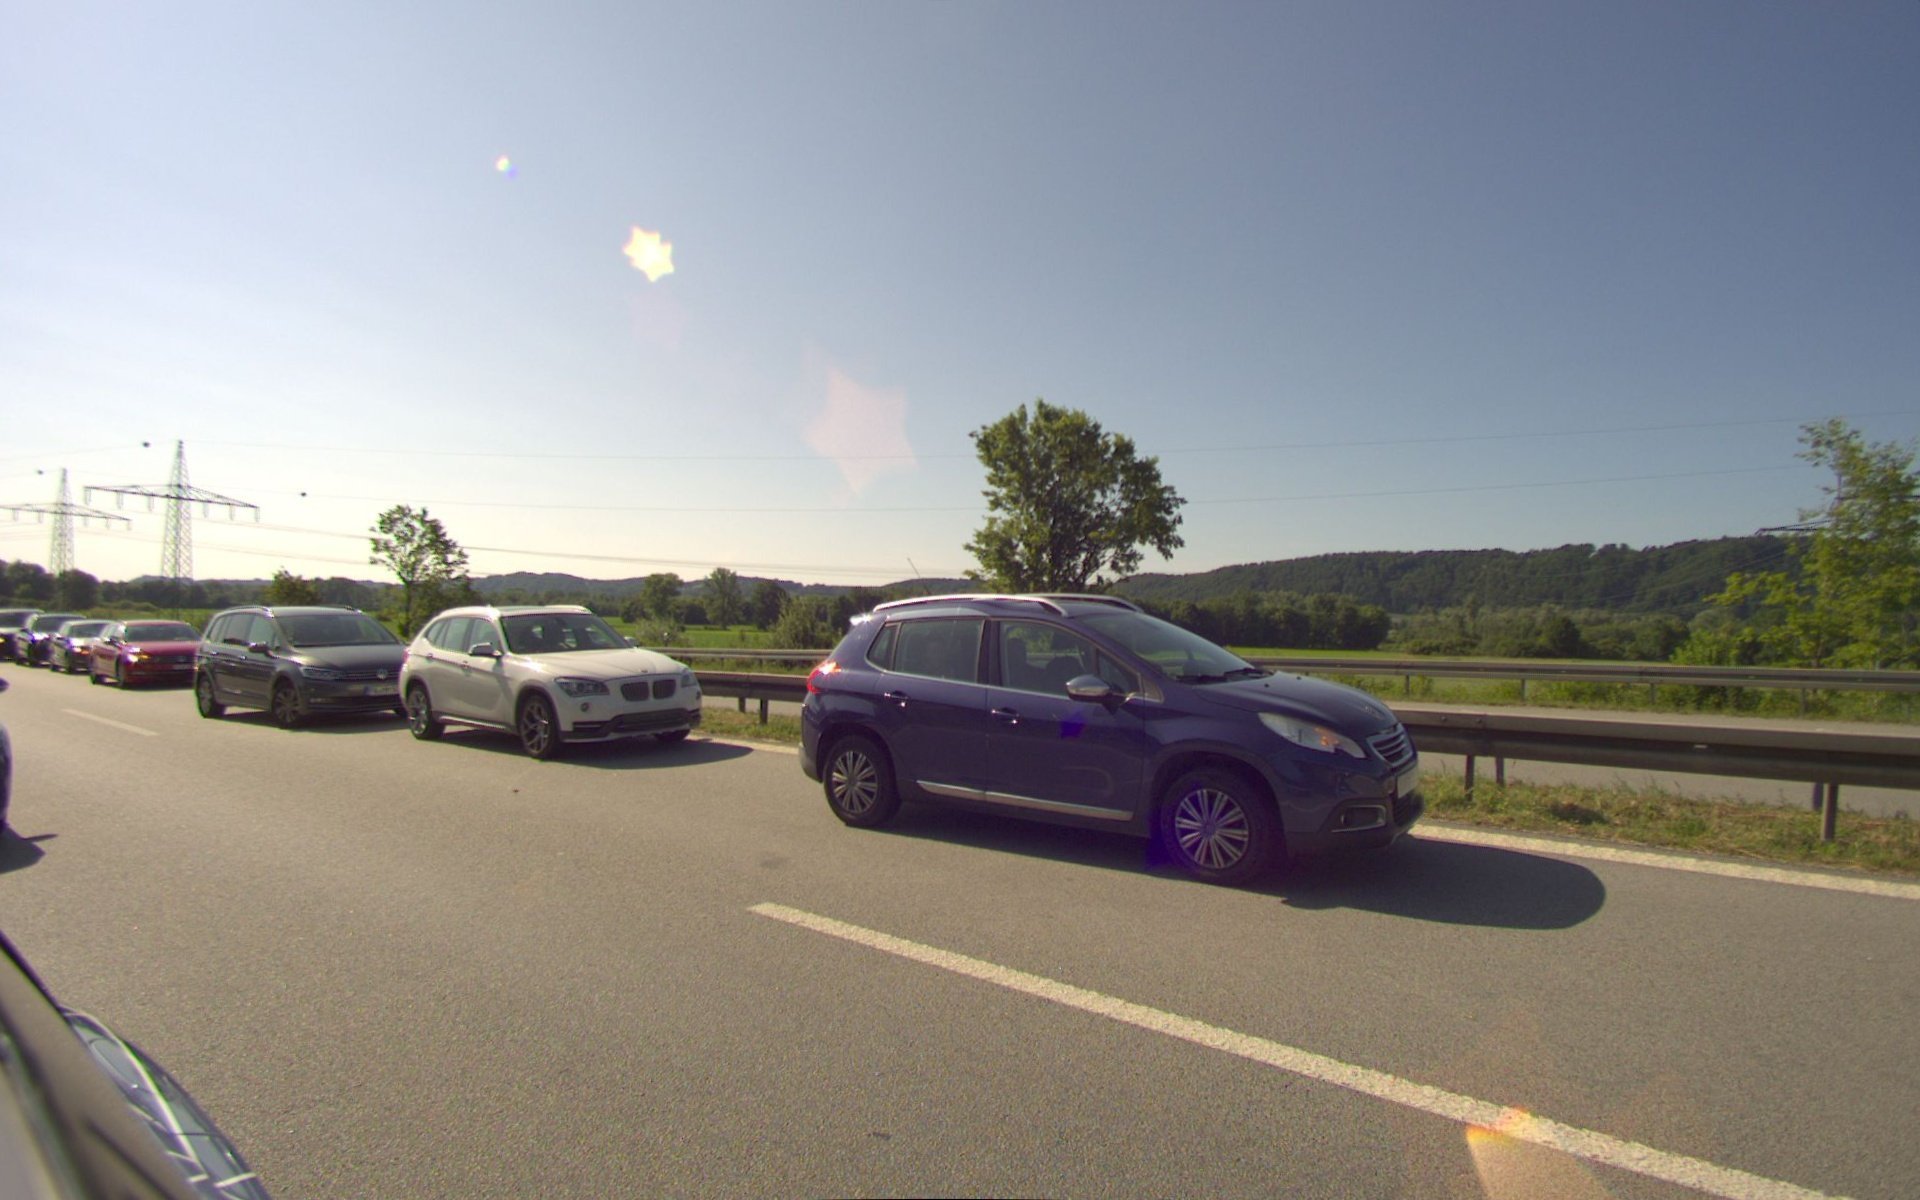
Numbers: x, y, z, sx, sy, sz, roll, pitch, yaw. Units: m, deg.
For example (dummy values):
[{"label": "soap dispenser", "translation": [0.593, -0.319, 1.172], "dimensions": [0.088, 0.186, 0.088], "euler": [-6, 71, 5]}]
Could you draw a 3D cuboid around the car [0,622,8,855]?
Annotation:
[{"label": "car", "translation": [-8.039, 0.887, 6.944], "dimensions": [4.322, 1.424, 1.695], "euler": [-1, -1, 40]}]

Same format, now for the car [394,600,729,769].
[{"label": "car", "translation": [-4.651, 0.840, 11.541], "dimensions": [4.160, 1.586, 1.809], "euler": [-1, -1, 40]}]

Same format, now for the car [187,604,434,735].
[{"label": "car", "translation": [-9.450, 0.902, 14.615], "dimensions": [4.113, 1.628, 1.797], "euler": [-1, -1, 39]}]

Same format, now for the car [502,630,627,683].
[{"label": "car", "translation": [-11.902, 1.643, 30.321], "dimensions": [4.302, 1.437, 1.677], "euler": [-1, -1, 41]}]

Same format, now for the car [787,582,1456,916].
[{"label": "car", "translation": [0.882, 0.713, 6.549], "dimensions": [3.941, 1.546, 1.672], "euler": [-1, 0, 36]}]

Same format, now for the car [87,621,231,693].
[{"label": "car", "translation": [-17.998, 1.227, 22.681], "dimensions": [4.115, 1.470, 1.796], "euler": [-1, -2, 41]}]

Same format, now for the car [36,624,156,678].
[{"label": "car", "translation": [-24.415, 1.394, 28.571], "dimensions": [3.995, 1.409, 1.871], "euler": [-1, -2, 39]}]

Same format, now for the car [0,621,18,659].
[{"label": "car", "translation": [-40.070, 1.615, 41.198], "dimensions": [3.996, 1.542, 1.974], "euler": [-1, -2, 39]}]

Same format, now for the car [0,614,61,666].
[{"label": "car", "translation": [-34.417, 1.426, 36.798], "dimensions": [4.195, 1.801, 1.878], "euler": [-1, -2, 39]}]

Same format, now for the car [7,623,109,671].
[{"label": "car", "translation": [-29.034, 1.472, 32.535], "dimensions": [3.996, 1.466, 1.870], "euler": [-1, -2, 40]}]
